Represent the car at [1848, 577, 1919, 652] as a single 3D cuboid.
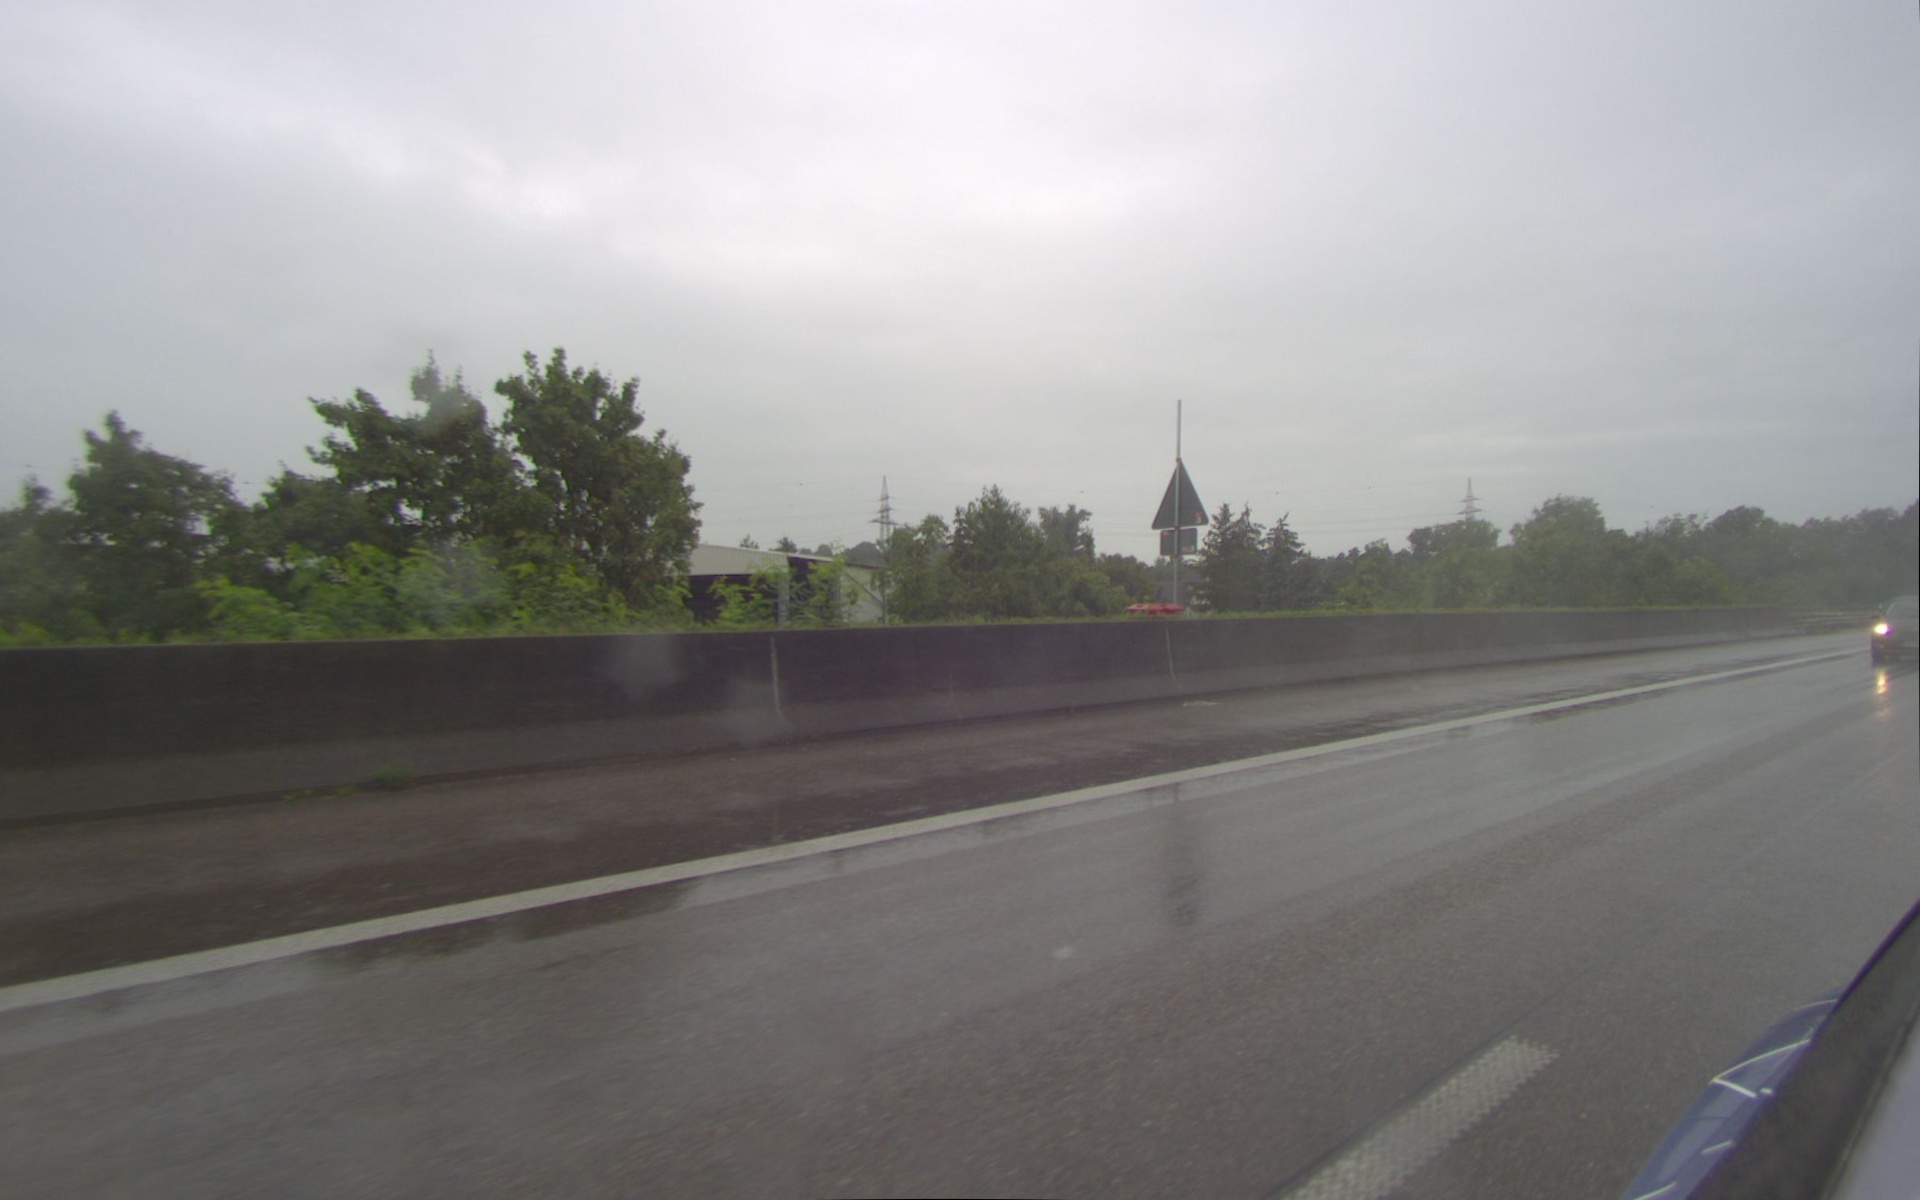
[{"bbox_3d":[24.691,0.335,25.570,5.615,1.768,2.463,0,0,-39],"label":"car"}]
